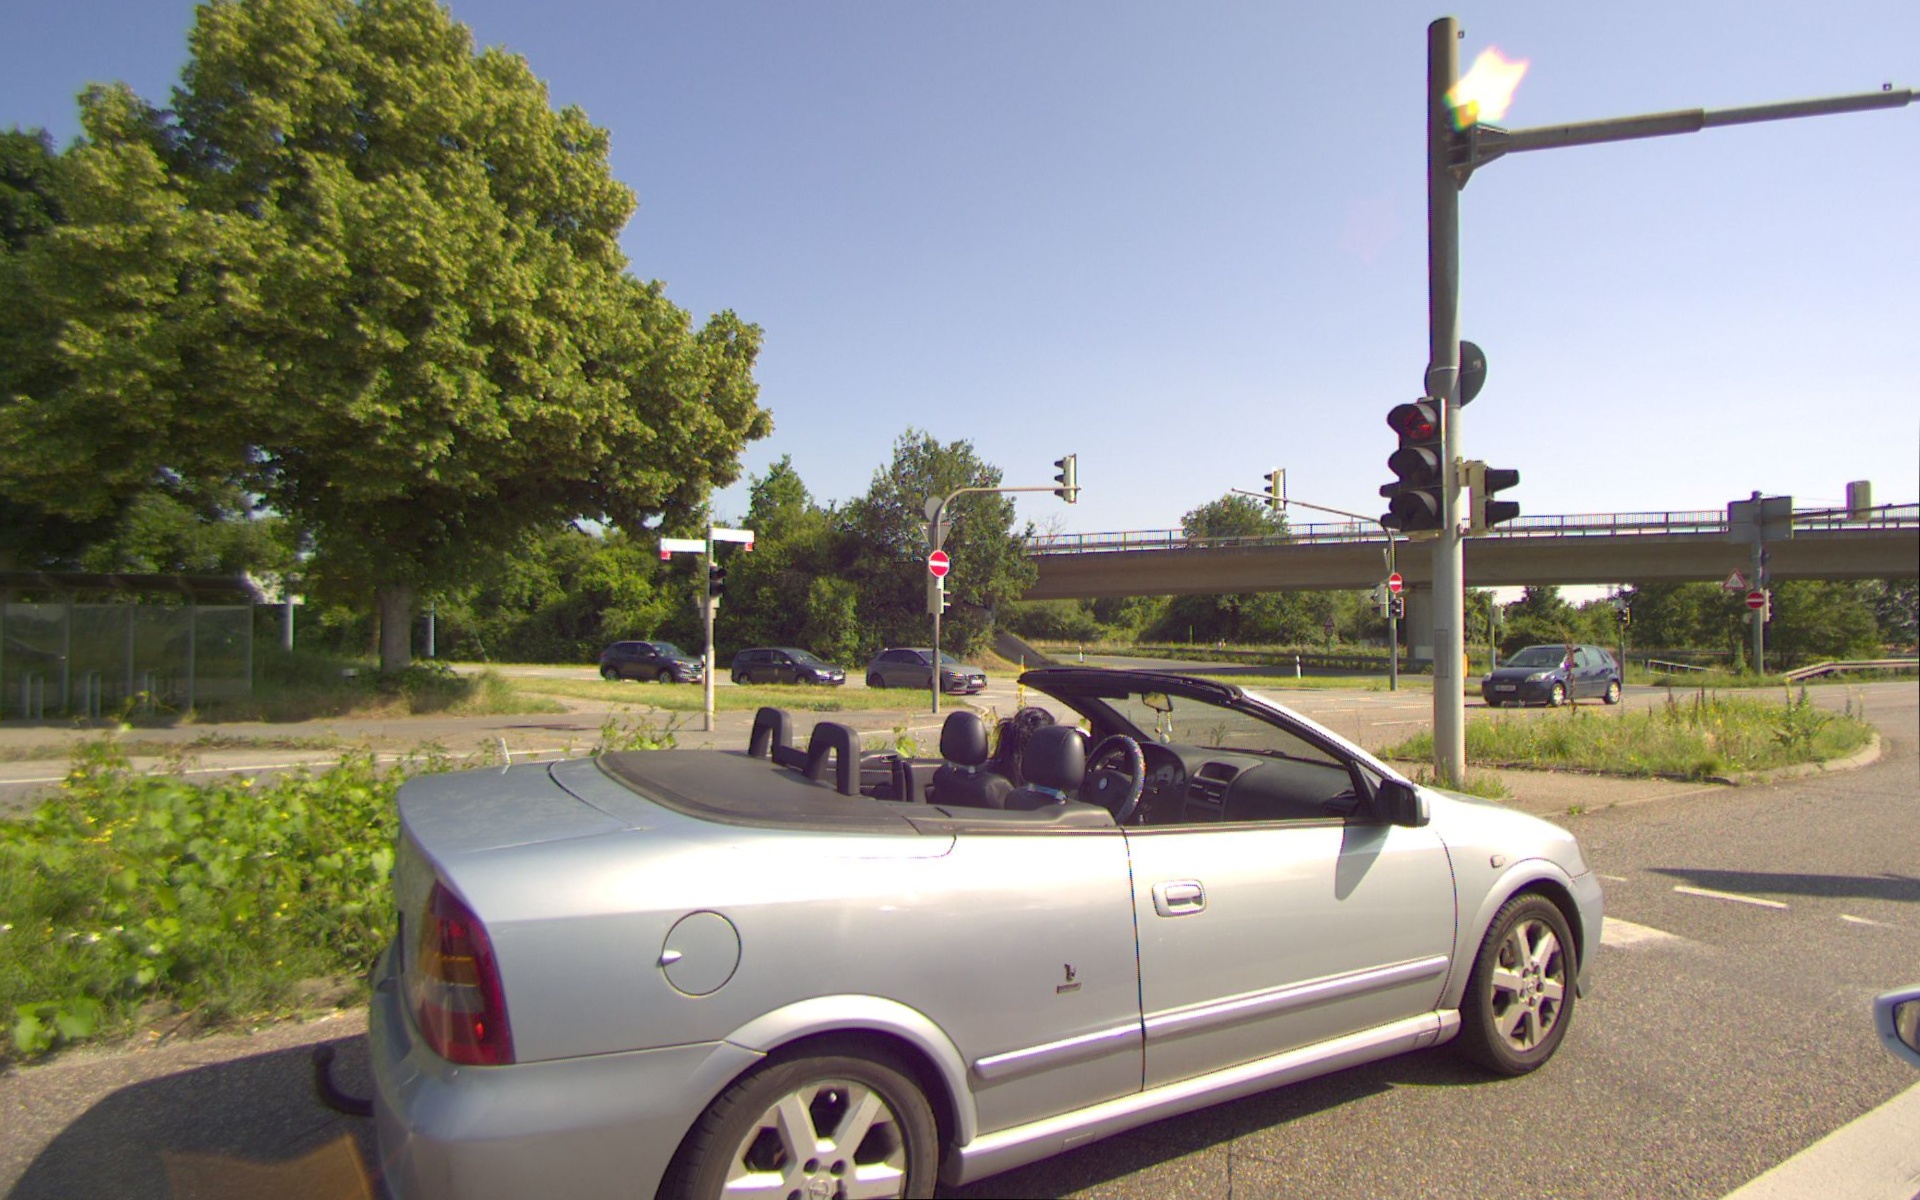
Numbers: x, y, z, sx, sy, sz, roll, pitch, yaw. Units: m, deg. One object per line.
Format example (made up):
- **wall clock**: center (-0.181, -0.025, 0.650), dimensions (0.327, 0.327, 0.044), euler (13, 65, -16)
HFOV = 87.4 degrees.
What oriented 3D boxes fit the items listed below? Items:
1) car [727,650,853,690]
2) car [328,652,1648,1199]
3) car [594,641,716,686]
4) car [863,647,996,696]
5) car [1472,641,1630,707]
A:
- **car**: center (-5.960, 2.411, 35.151), dimensions (4.276, 1.297, 1.648), euler (-1, -2, 30)
- **car**: center (0.334, 0.870, 3.356), dimensions (4.049, 1.352, 1.666), euler (1, -3, -30)
- **car**: center (-11.389, 2.338, 37.535), dimensions (4.270, 1.616, 1.651), euler (-1, -2, 22)
- **car**: center (-0.996, 2.230, 31.951), dimensions (4.066, 1.443, 1.862), euler (-2, -3, 41)
- **car**: center (14.190, 1.743, 24.091), dimensions (3.732, 1.460, 1.607), euler (1, -4, -30)
